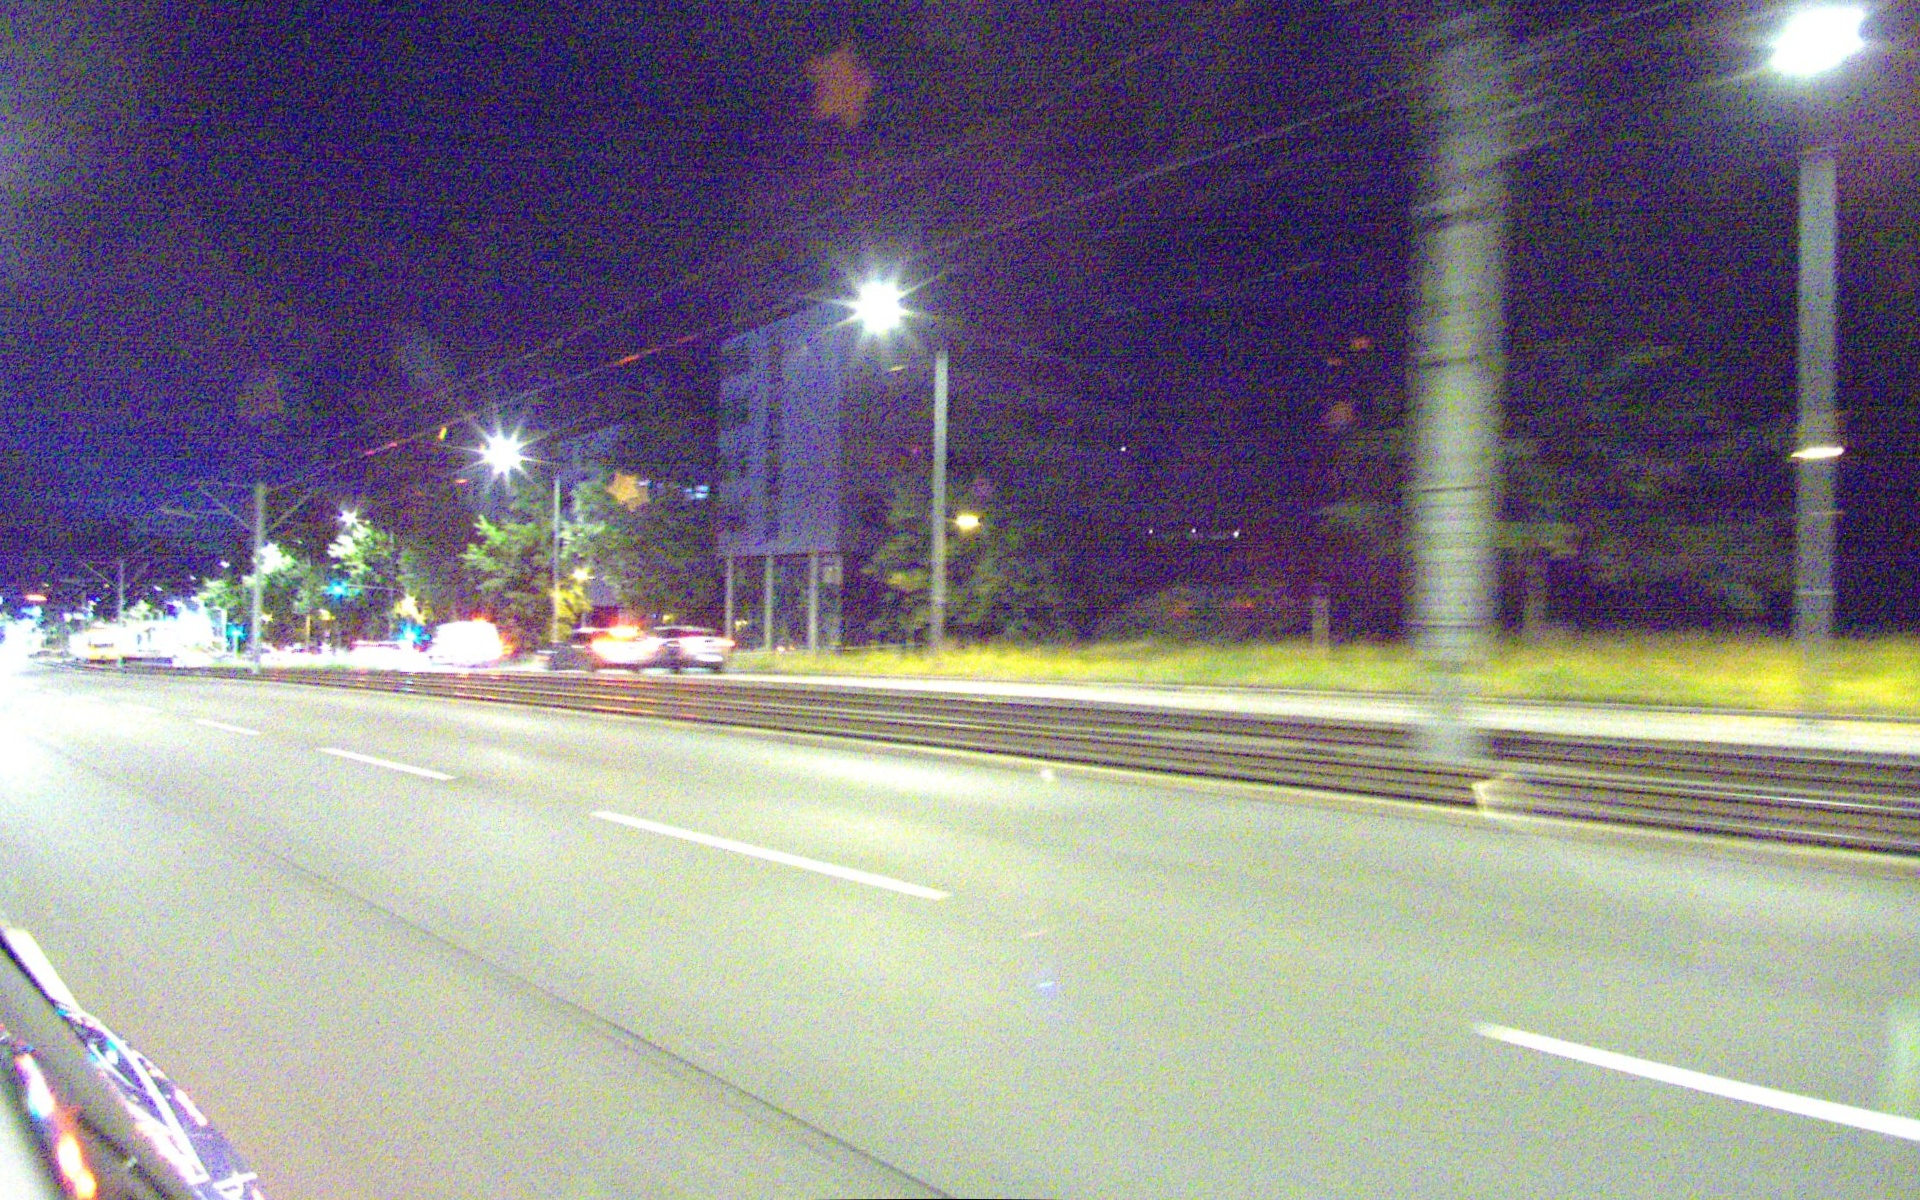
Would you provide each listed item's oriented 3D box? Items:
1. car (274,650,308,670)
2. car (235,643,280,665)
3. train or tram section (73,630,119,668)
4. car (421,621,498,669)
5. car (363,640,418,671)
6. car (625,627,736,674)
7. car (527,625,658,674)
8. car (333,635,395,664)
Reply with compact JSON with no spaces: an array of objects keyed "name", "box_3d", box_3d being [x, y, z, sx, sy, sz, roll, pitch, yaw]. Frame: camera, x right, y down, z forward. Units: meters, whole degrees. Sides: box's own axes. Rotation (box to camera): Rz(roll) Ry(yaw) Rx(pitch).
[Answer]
[{"name":"car","box_3d":[-53.805,4.784,81.392,1.640,1.528,3.914,1,-2,-44]},{"name":"car","box_3d":[-50.993,3.888,73.430,4.173,1.508,1.766,-1,-1,42]},{"name":"train or tram section","box_3d":[-94.984,5.397,111.102,2.726,3.856,18.684,1,-3,-44]},{"name":"car","box_3d":[-30.165,2.694,60.836,2.120,2.691,6.969,5,-5,-43]},{"name":"car","box_3d":[-33.898,3.276,60.177,4.229,1.726,1.759,-3,-2,45]},{"name":"car","box_3d":[-9.691,1.733,34.883,1.839,1.526,4.620,3,-4,-41]},{"name":"car","box_3d":[-11.886,1.564,32.519,4.955,1.439,1.846,-2,-2,42]},{"name":"car","box_3d":[-30.835,2.554,52.330,4.338,1.451,1.602,-3,-4,44]}]
